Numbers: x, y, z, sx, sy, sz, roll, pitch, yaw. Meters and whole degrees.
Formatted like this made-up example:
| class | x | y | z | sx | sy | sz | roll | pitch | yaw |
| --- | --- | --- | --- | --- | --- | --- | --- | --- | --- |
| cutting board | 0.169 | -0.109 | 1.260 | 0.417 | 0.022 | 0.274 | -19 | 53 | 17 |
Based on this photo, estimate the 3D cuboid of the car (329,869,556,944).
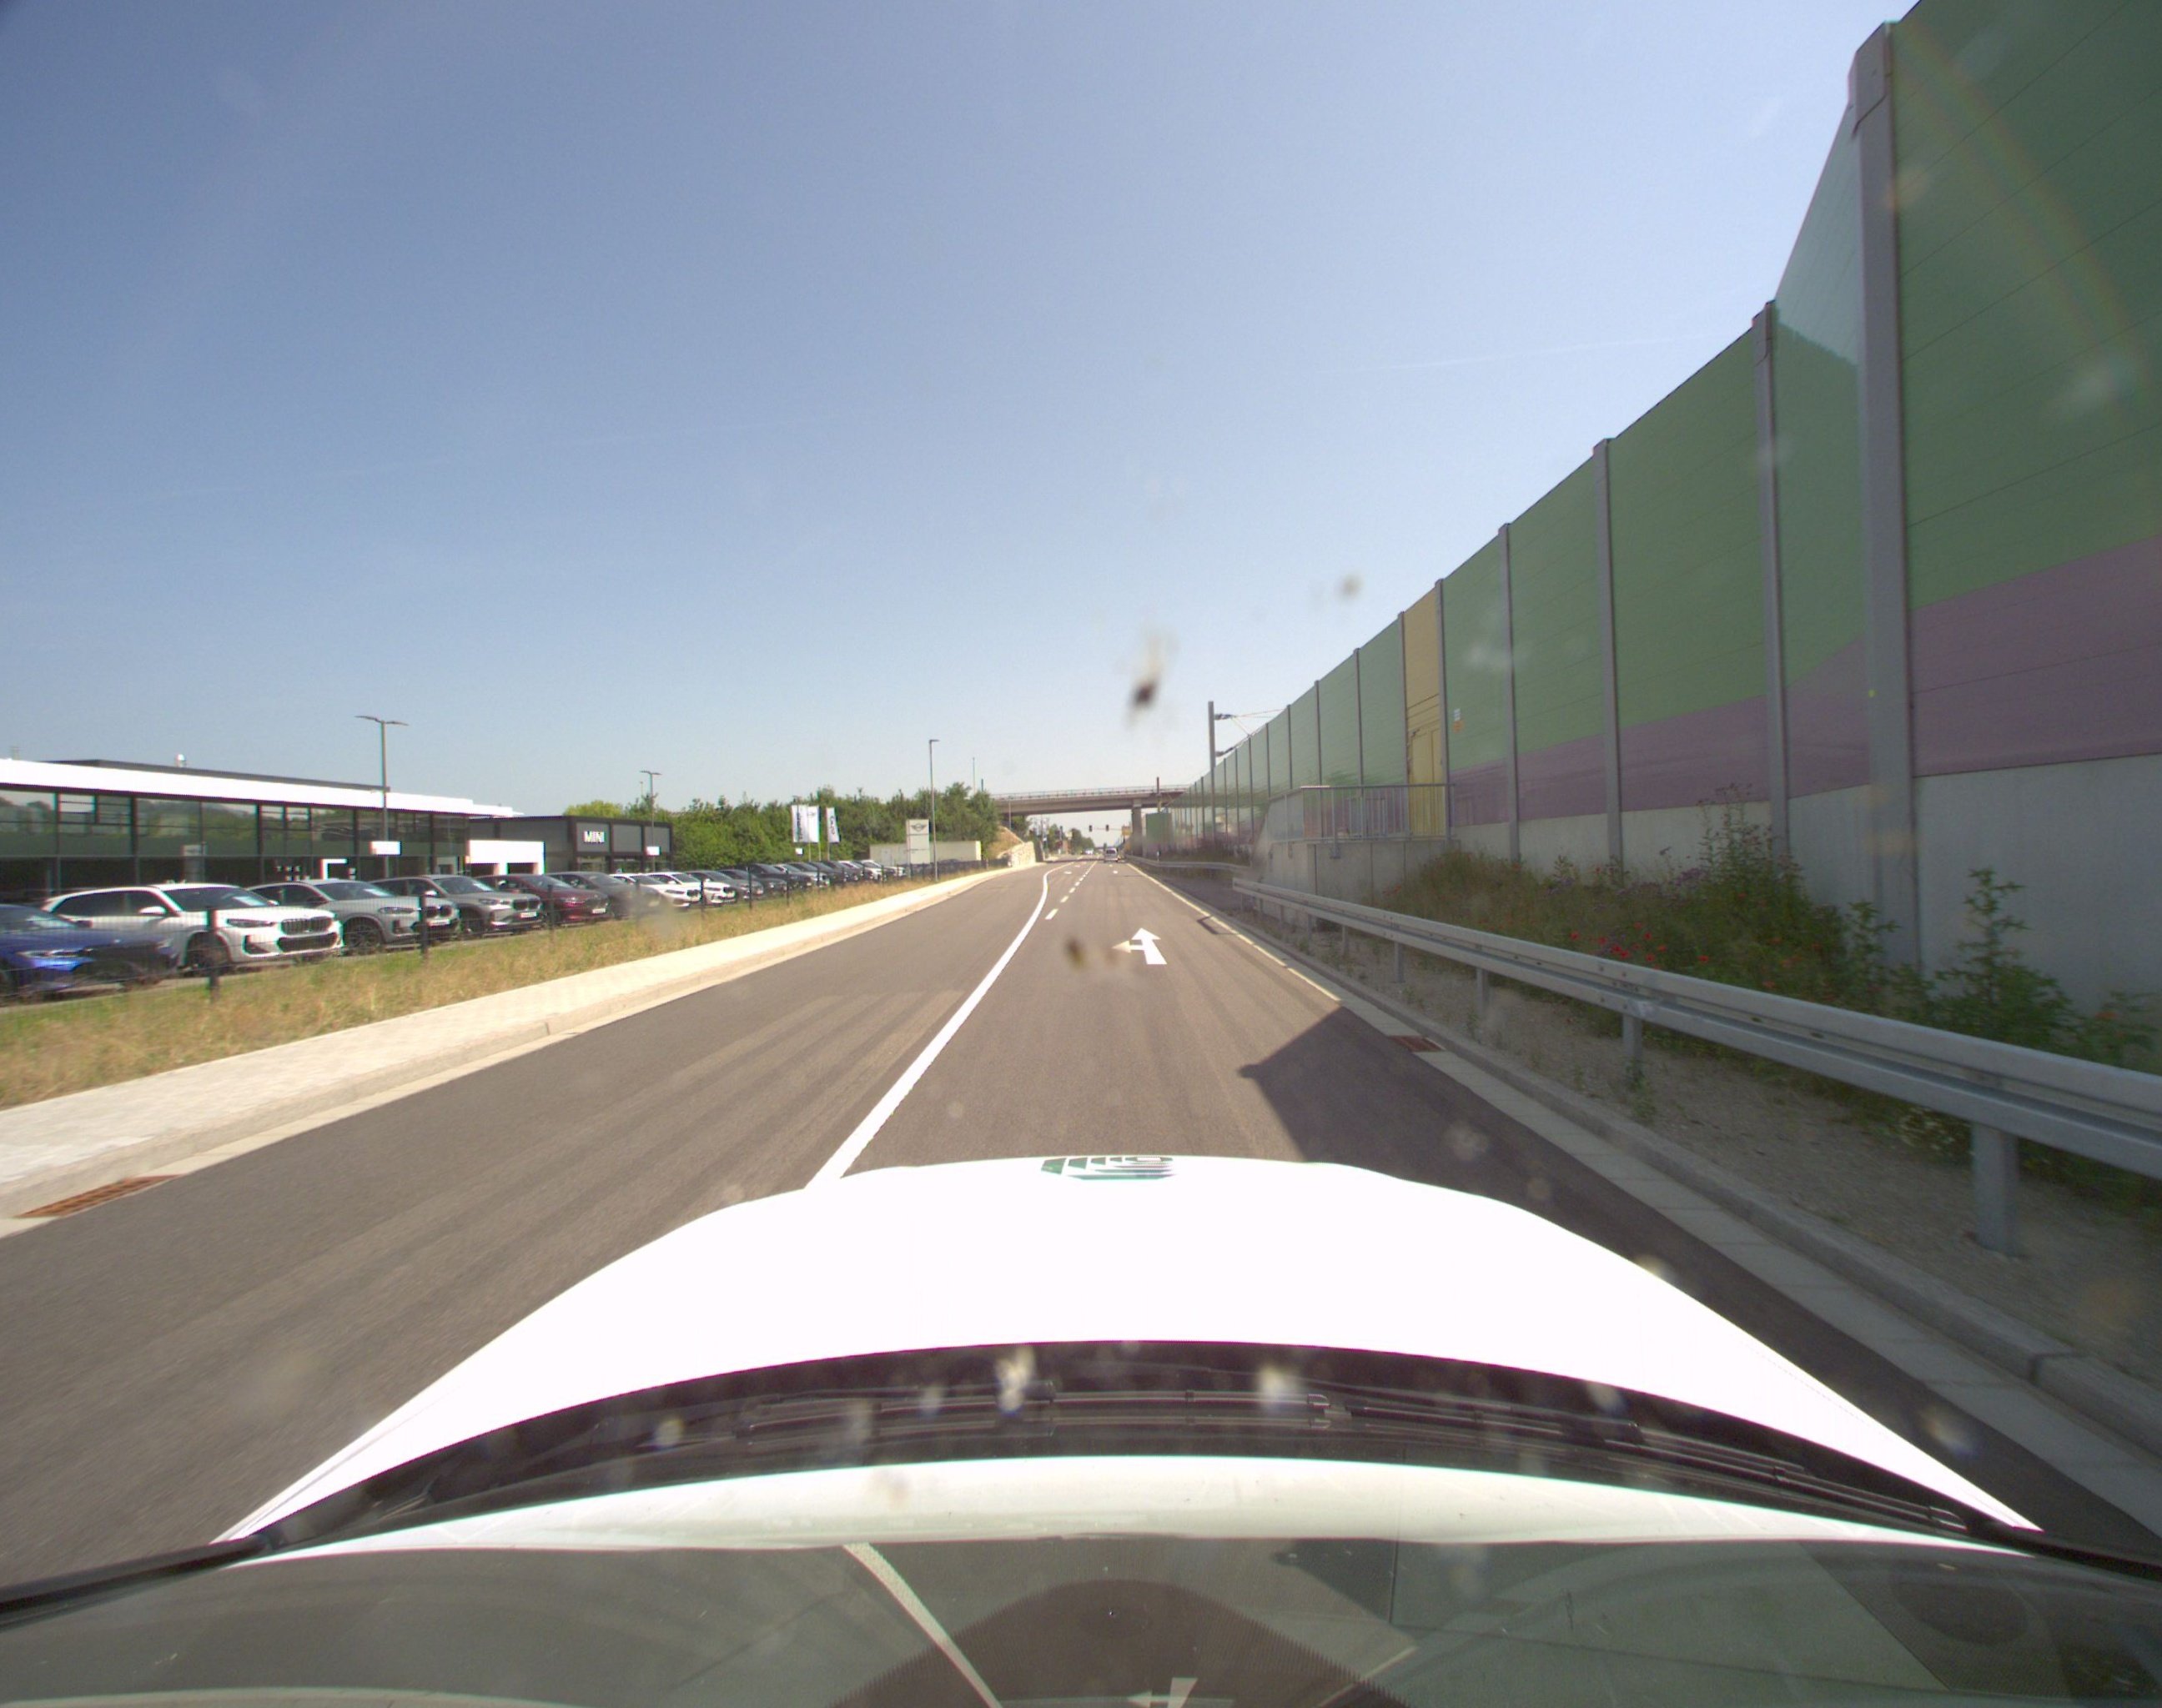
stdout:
| class | x | y | z | sx | sy | sz | roll | pitch | yaw |
| --- | --- | --- | --- | --- | --- | --- | --- | --- | --- |
| car | -15.717 | 1.267 | 20.196 | 4.148 | 1.545 | 1.816 | -3 | 1 | 2 |

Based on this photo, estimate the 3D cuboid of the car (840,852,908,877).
| class | x | y | z | sx | sy | sz | roll | pitch | yaw |
| --- | --- | --- | --- | --- | --- | --- | --- | --- | --- |
| car | -14.463 | 0.720 | 56.984 | 4.148 | 1.466 | 1.816 | -3 | 1 | 2 |

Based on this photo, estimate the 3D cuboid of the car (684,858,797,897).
| class | x | y | z | sx | sy | sz | roll | pitch | yaw |
| --- | --- | --- | --- | --- | --- | --- | --- | --- | --- |
| car | -15.029 | 1.017 | 36.072 | 4.148 | 1.466 | 1.816 | -3 | 1 | 2 |

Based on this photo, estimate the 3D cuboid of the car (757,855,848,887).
| class | x | y | z | sx | sy | sz | roll | pitch | yaw |
| --- | --- | --- | --- | --- | --- | --- | --- | --- | --- |
| car | -14.786 | 0.894 | 43.344 | 4.148 | 1.466 | 1.816 | -3 | 1 | 2 |

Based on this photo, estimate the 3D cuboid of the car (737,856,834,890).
| class | x | y | z | sx | sy | sz | roll | pitch | yaw |
| --- | --- | --- | --- | --- | --- | --- | --- | --- | --- |
| car | -14.819 | 0.939 | 41.018 | 4.148 | 1.466 | 1.816 | -3 | 1 | 2 |

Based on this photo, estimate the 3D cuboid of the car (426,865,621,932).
| class | x | y | z | sx | sy | sz | roll | pitch | yaw |
| --- | --- | --- | --- | --- | --- | --- | --- | --- | --- |
| car | -15.513 | 1.212 | 22.821 | 4.148 | 1.545 | 1.816 | -3 | 1 | 2 |

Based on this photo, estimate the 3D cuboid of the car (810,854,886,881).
| class | x | y | z | sx | sy | sz | roll | pitch | yaw |
| --- | --- | --- | --- | --- | --- | --- | --- | --- | --- |
| car | -14.647 | 0.810 | 51.265 | 4.148 | 1.466 | 1.816 | -3 | 1 | 2 |

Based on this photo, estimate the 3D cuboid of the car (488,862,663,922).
| class | x | y | z | sx | sy | sz | roll | pitch | yaw |
| --- | --- | --- | --- | --- | --- | --- | --- | --- | --- |
| car | -15.447 | 1.133 | 25.033 | 4.148 | 1.545 | 1.816 | -3 | 1 | 2 |

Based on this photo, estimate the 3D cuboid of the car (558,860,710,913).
| class | x | y | z | sx | sy | sz | roll | pitch | yaw |
| --- | --- | --- | --- | --- | --- | --- | --- | --- | --- |
| car | -15.307 | 1.092 | 28.033 | 4.148 | 1.545 | 1.816 | -3 | 1 | 2 |

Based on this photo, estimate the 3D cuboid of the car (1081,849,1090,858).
| class | x | y | z | sx | sy | sz | roll | pitch | yaw |
| --- | --- | --- | --- | --- | --- | --- | --- | --- | --- |
| car | 1.053 | -0.140 | 198.981 | 1.986 | 1.926 | 4.001 | -3 | 0 | 2 |

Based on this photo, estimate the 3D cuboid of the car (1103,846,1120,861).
| class | x | y | z | sx | sy | sz | roll | pitch | yaw |
| --- | --- | --- | --- | --- | --- | --- | --- | --- | --- |
| car | 3.904 | -0.065 | 104.049 | 1.985 | 1.757 | 4.004 | -2 | 0 | 3 |

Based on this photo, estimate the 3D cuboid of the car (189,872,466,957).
| class | x | y | z | sx | sy | sz | roll | pitch | yaw |
| --- | --- | --- | --- | --- | --- | --- | --- | --- | --- |
| car | -15.863 | 1.251 | 17.309 | 4.148 | 1.466 | 1.816 | -3 | 1 | 2 |

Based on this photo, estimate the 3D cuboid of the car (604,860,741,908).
| class | x | y | z | sx | sy | sz | roll | pitch | yaw |
| --- | --- | --- | --- | --- | --- | --- | --- | --- | --- |
| car | -15.264 | 1.097 | 30.556 | 4.148 | 1.545 | 1.816 | -3 | 1 | 2 |

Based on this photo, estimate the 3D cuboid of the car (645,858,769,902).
| class | x | y | z | sx | sy | sz | roll | pitch | yaw |
| --- | --- | --- | --- | --- | --- | --- | --- | --- | --- |
| car | -15.165 | 1.033 | 33.169 | 4.148 | 1.545 | 1.816 | -3 | 1 | 2 |

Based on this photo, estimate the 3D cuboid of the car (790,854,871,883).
| class | x | y | z | sx | sy | sz | roll | pitch | yaw |
| --- | --- | --- | --- | --- | --- | --- | --- | --- | --- |
| car | -14.831 | 0.835 | 48.301 | 4.148 | 1.466 | 1.816 | -3 | 1 | 2 |

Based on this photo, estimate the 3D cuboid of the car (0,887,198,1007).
| class | x | y | z | sx | sy | sz | roll | pitch | yaw |
| --- | --- | --- | --- | --- | --- | --- | --- | --- | --- |
| car | -15.769 | 1.345 | 11.708 | 4.148 | 1.466 | 1.816 | -3 | 1 | 2 |

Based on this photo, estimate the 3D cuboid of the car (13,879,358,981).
| class | x | y | z | sx | sy | sz | roll | pitch | yaw |
| --- | --- | --- | --- | --- | --- | --- | --- | --- | --- |
| car | -15.857 | 1.308 | 14.586 | 4.148 | 1.466 | 1.816 | -3 | 1 | 2 |

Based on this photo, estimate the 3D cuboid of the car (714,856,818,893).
| class | x | y | z | sx | sy | sz | roll | pitch | yaw |
| --- | --- | --- | --- | --- | --- | --- | --- | --- | --- |
| car | -14.849 | 0.948 | 38.520 | 4.148 | 1.466 | 1.816 | -3 | 1 | 2 |
